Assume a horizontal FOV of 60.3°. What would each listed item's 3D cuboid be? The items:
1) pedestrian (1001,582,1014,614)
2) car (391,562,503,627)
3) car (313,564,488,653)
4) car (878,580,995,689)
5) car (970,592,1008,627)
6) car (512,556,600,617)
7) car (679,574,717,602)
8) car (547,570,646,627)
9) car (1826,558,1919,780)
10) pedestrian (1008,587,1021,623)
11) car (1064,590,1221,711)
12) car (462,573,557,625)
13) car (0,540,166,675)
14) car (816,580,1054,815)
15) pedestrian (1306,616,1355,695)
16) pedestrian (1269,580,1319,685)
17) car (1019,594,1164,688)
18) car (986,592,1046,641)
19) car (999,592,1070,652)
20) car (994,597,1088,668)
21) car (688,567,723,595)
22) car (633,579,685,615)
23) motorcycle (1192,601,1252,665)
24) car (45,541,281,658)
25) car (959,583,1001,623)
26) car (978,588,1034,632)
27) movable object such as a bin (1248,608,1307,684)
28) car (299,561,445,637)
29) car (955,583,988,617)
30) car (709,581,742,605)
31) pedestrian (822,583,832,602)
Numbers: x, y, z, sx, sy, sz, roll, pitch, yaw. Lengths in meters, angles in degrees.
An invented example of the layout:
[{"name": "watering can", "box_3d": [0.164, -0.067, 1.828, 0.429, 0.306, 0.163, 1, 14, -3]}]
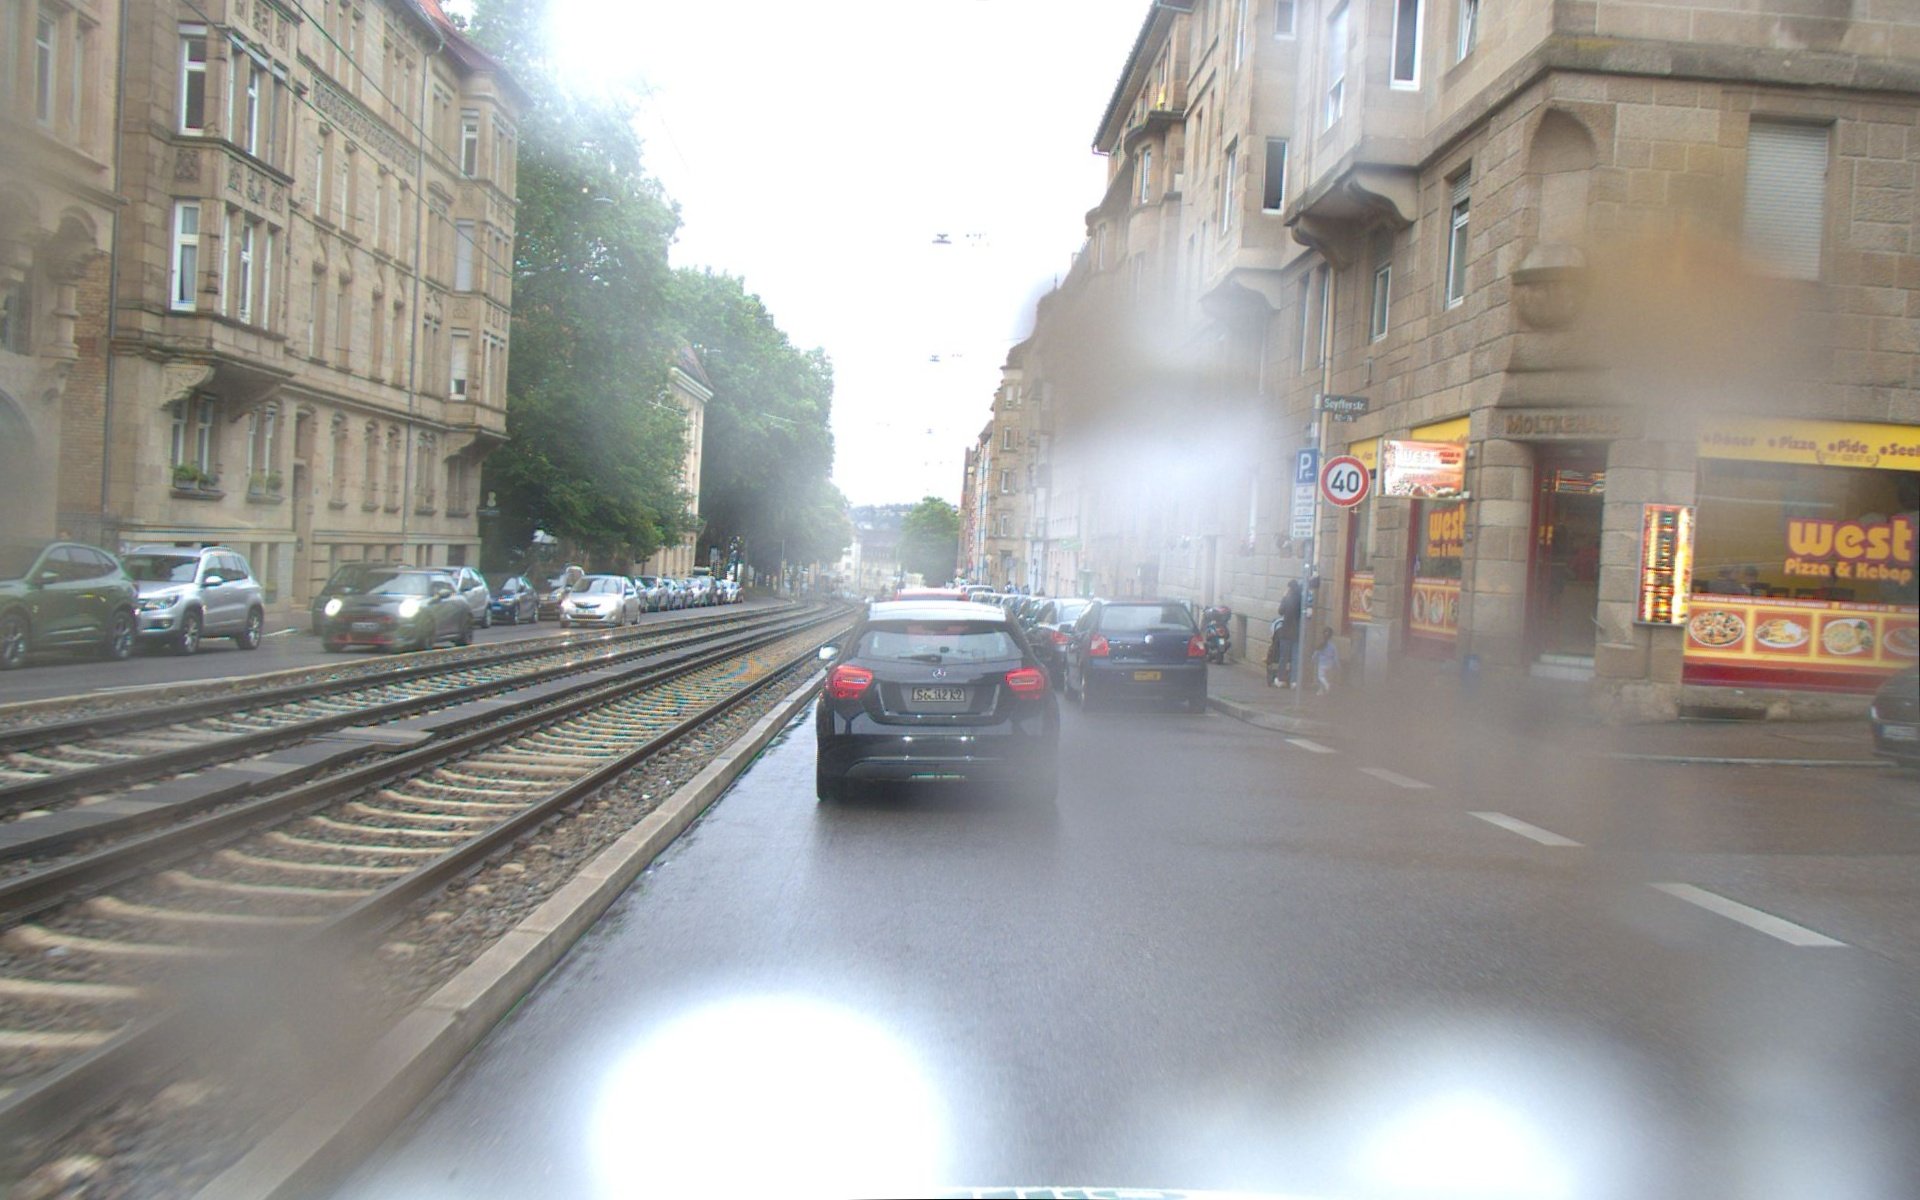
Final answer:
[{"name": "pedestrian", "box_3d": [2.762, -0.142, 96.599, 0.730, 1.866, 1.039, 0, 0, 0]}, {"name": "car", "box_3d": [-12.945, -0.150, 41.967, 1.660, 1.550, 3.854, 1, 0, -1]}, {"name": "car", "box_3d": [-9.669, 0.121, 28.871, 1.669, 1.412, 3.782, 1, 0, 1]}, {"name": "car", "box_3d": [-0.401, 0.522, 27.392, 1.749, 1.608, 3.999, 2, 0, -1]}, {"name": "car", "box_3d": [1.285, 0.402, 74.219, 1.538, 1.487, 3.599, 2, 0, -1]}, {"name": "car", "box_3d": [-13.117, -0.438, 53.990, 1.764, 1.879, 4.817, 1, 0, -1]}, {"name": "car", "box_3d": [-13.746, -0.615, 86.900, 1.508, 1.438, 3.951, 0, 0, -2]}, {"name": "car", "box_3d": [-10.052, -0.051, 46.068, 1.942, 1.482, 4.292, 1, 0, -3]}, {"name": "car", "box_3d": [10.484, 0.563, 14.592, 4.682, 1.894, 1.999, -1, 0, -3]}, {"name": "pedestrian", "box_3d": [2.758, 0.244, 83.228, 0.595, 1.794, 0.688, 0, 0, -2]}, {"name": "car", "box_3d": [2.371, 0.611, 22.280, 1.637, 1.469, 3.789, 0, 0, -1]}, {"name": "car", "box_3d": [-12.912, -0.046, 47.640, 1.727, 1.422, 4.268, 1, 0, -2]}, {"name": "car", "box_3d": [-12.505, 0.057, 21.872, 1.820, 1.630, 4.430, 1, 0, 0]}, {"name": "car", "box_3d": [-0.221, 0.646, 12.905, 1.548, 1.531, 3.573, 2, 0, -2]}, {"name": "pedestrian", "box_3d": [5.170, 0.769, 23.093, 0.500, 1.068, 0.626, 2, 0, -1]}, {"name": "pedestrian", "box_3d": [5.063, 0.487, 25.121, 0.550, 1.562, 0.710, 2, 0, -1]}, {"name": "car", "box_3d": [2.091, 0.626, 27.547, 1.720, 1.411, 4.481, 0, 0, -5]}, {"name": "car", "box_3d": [1.741, 0.487, 52.323, 1.559, 1.459, 3.681, 1, 0, -4]}, {"name": "car", "box_3d": [1.892, 0.543, 42.877, 1.513, 1.439, 3.444, 2, 0, -3]}, {"name": "car", "box_3d": [1.817, 0.703, 38.327, 1.752, 1.488, 4.081, 2, 0, -3]}, {"name": "car", "box_3d": [-14.419, -1.063, 93.924, 1.508, 1.531, 4.153, 0, 0, -2]}, {"name": "car", "box_3d": [-13.728, -0.146, 75.601, 1.719, 1.563, 4.541, 0, 0, -2]}, {"name": "motorcycle", "box_3d": [5.346, 0.647, 33.877, 0.691, 1.219, 2.745, 2, 0, -1]}, {"name": "car", "box_3d": [-12.633, -0.018, 26.533, 1.821, 1.681, 4.313, 1, 0, -3]}, {"name": "car", "box_3d": [0.936, 0.131, 78.378, 1.755, 1.796, 4.210, 1, 0, -2]}, {"name": "car", "box_3d": [1.565, 0.317, 57.528, 1.634, 1.459, 3.954, 1, 0, -3]}, {"name": "movable object such as a bin", "box_3d": [5.000, 0.712, 26.080, 0.651, 1.122, 1.123, 2, 0, -2]}, {"name": "car", "box_3d": [-13.019, -0.032, 36.884, 1.833, 1.534, 4.168, 1, 0, -2]}, {"name": "car", "box_3d": [0.644, -0.006, 93.295, 1.791, 1.781, 4.467, 2, 0, 0]}, {"name": "car", "box_3d": [-14.436, -0.447, 102.080, 1.469, 1.415, 3.987, 0, 0, 0]}, {"name": "pedestrian", "box_3d": [-11.640, -0.633, 144.679, 0.789, 1.662, 0.892, 1, 0, -1]}]
